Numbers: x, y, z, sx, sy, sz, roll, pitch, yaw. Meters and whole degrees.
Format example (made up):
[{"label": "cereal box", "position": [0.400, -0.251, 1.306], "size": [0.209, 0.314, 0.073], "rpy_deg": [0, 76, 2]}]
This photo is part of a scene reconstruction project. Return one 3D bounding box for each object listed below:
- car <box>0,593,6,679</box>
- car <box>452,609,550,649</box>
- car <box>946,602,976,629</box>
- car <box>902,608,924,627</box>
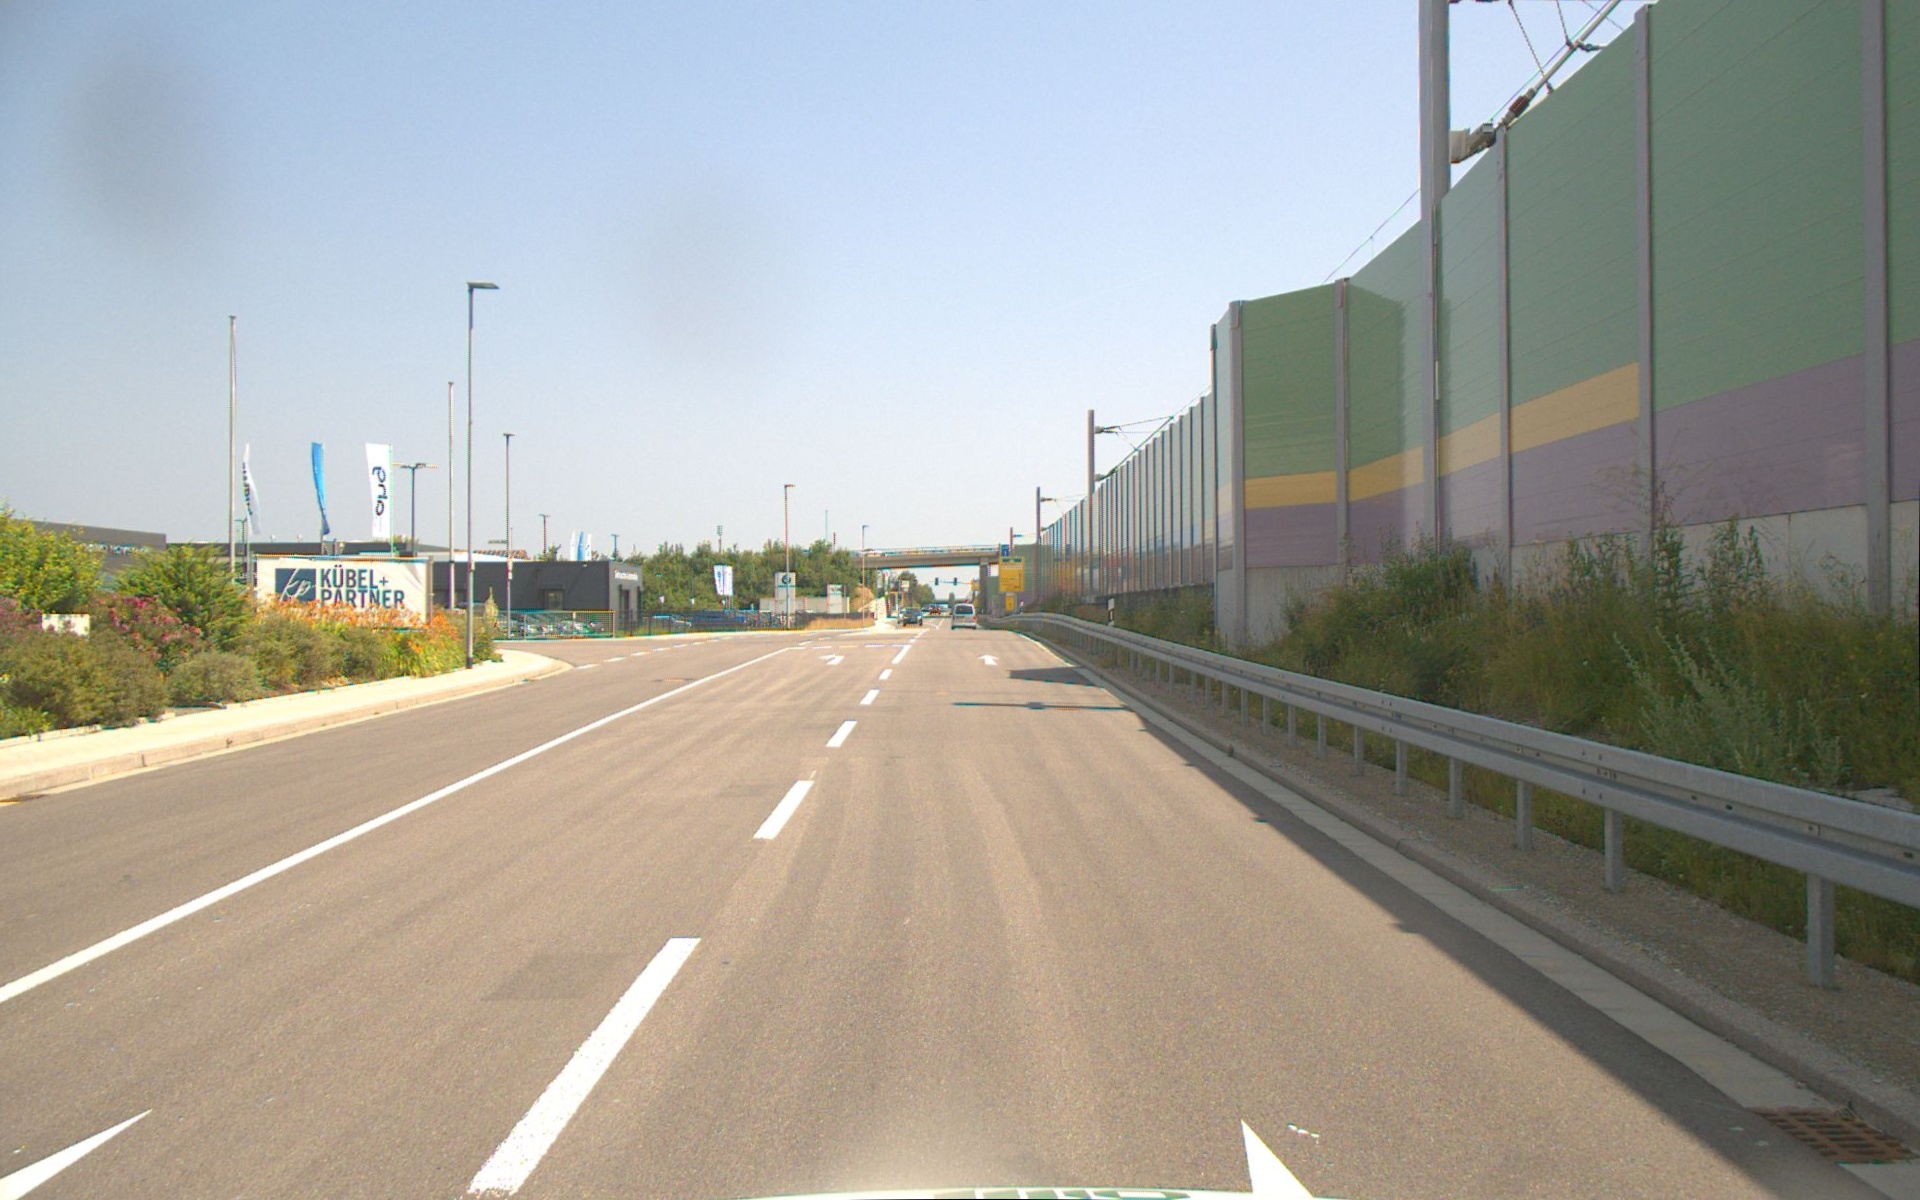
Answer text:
[{"label": "car", "position": [-15.812, 0.466, 23.608], "size": [3.439, 1.276, 1.504], "rpy_deg": [2, 0, -2]}, {"label": "car", "position": [-20.633, 1.301, 74.474], "size": [3.907, 1.660, 1.886], "rpy_deg": [-1, 0, -2]}, {"label": "car", "position": [0.105, 1.057, 115.244], "size": [1.952, 1.788, 4.001], "rpy_deg": [0, 0, 1]}, {"label": "car", "position": [-4.307, 1.615, 152.077], "size": [1.839, 1.702, 4.290], "rpy_deg": [-1, 0, 0]}]
